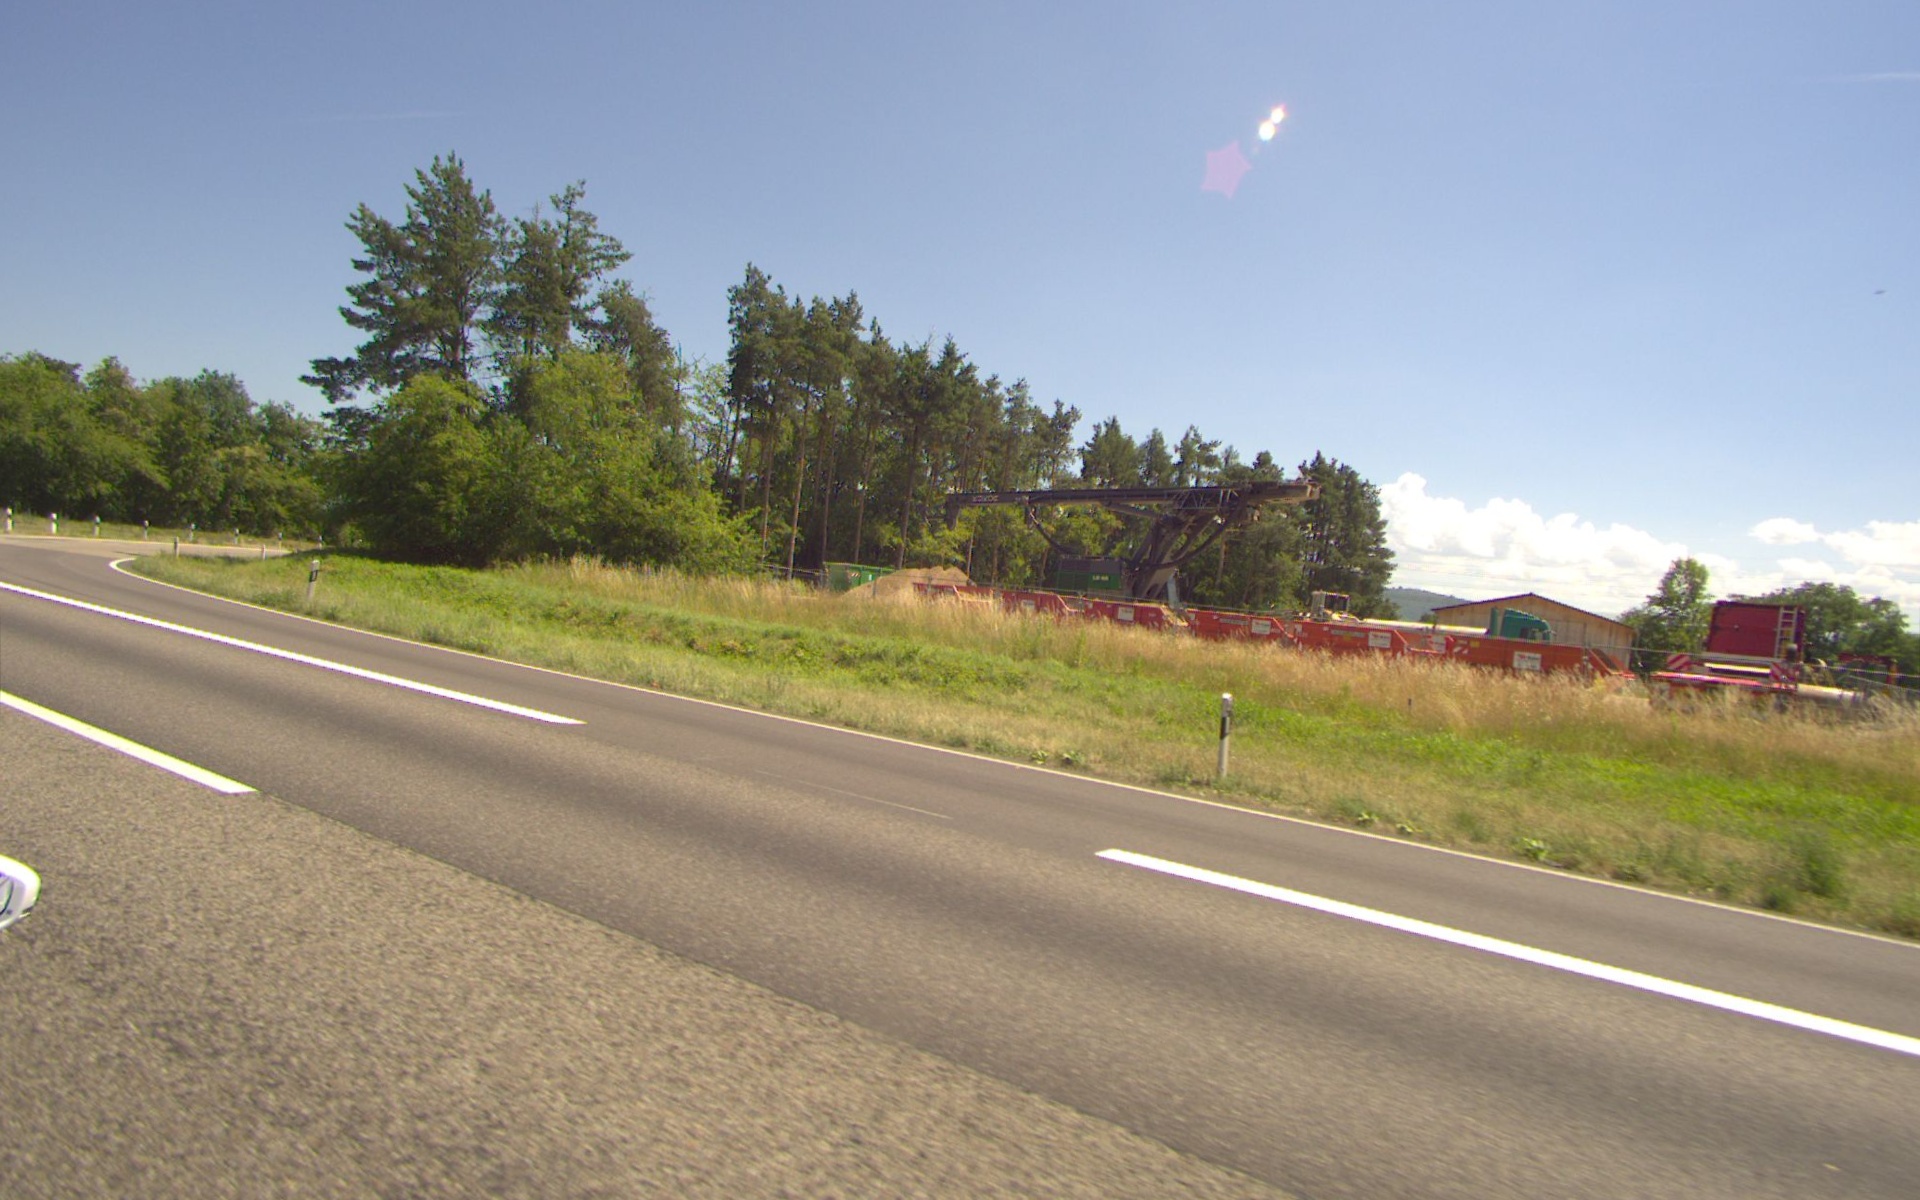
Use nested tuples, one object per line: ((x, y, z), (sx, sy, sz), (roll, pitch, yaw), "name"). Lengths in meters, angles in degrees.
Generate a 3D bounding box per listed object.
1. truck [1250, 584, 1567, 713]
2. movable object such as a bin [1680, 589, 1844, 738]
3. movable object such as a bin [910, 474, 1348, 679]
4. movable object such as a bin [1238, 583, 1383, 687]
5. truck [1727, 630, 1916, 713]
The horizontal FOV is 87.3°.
((25.358, 2.577, 58.050), (15.937, 5.287, 3.132), (7, -1, 36), "truck")
((27.823, 2.295, 34.929), (3.760, 4.360, 5.909), (7, -2, 40), "movable object such as a bin")
((6.729, -1.695, 48.913), (22.501, 8.020, 3.124), (6, -1, 45), "movable object such as a bin")
((16.941, 1.679, 49.253), (3.882, 4.258, 6.645), (8, -1, -5), "movable object such as a bin")
((48.839, 4.116, 56.843), (13.357, 2.980, 3.628), (9, -2, -29), "truck")
